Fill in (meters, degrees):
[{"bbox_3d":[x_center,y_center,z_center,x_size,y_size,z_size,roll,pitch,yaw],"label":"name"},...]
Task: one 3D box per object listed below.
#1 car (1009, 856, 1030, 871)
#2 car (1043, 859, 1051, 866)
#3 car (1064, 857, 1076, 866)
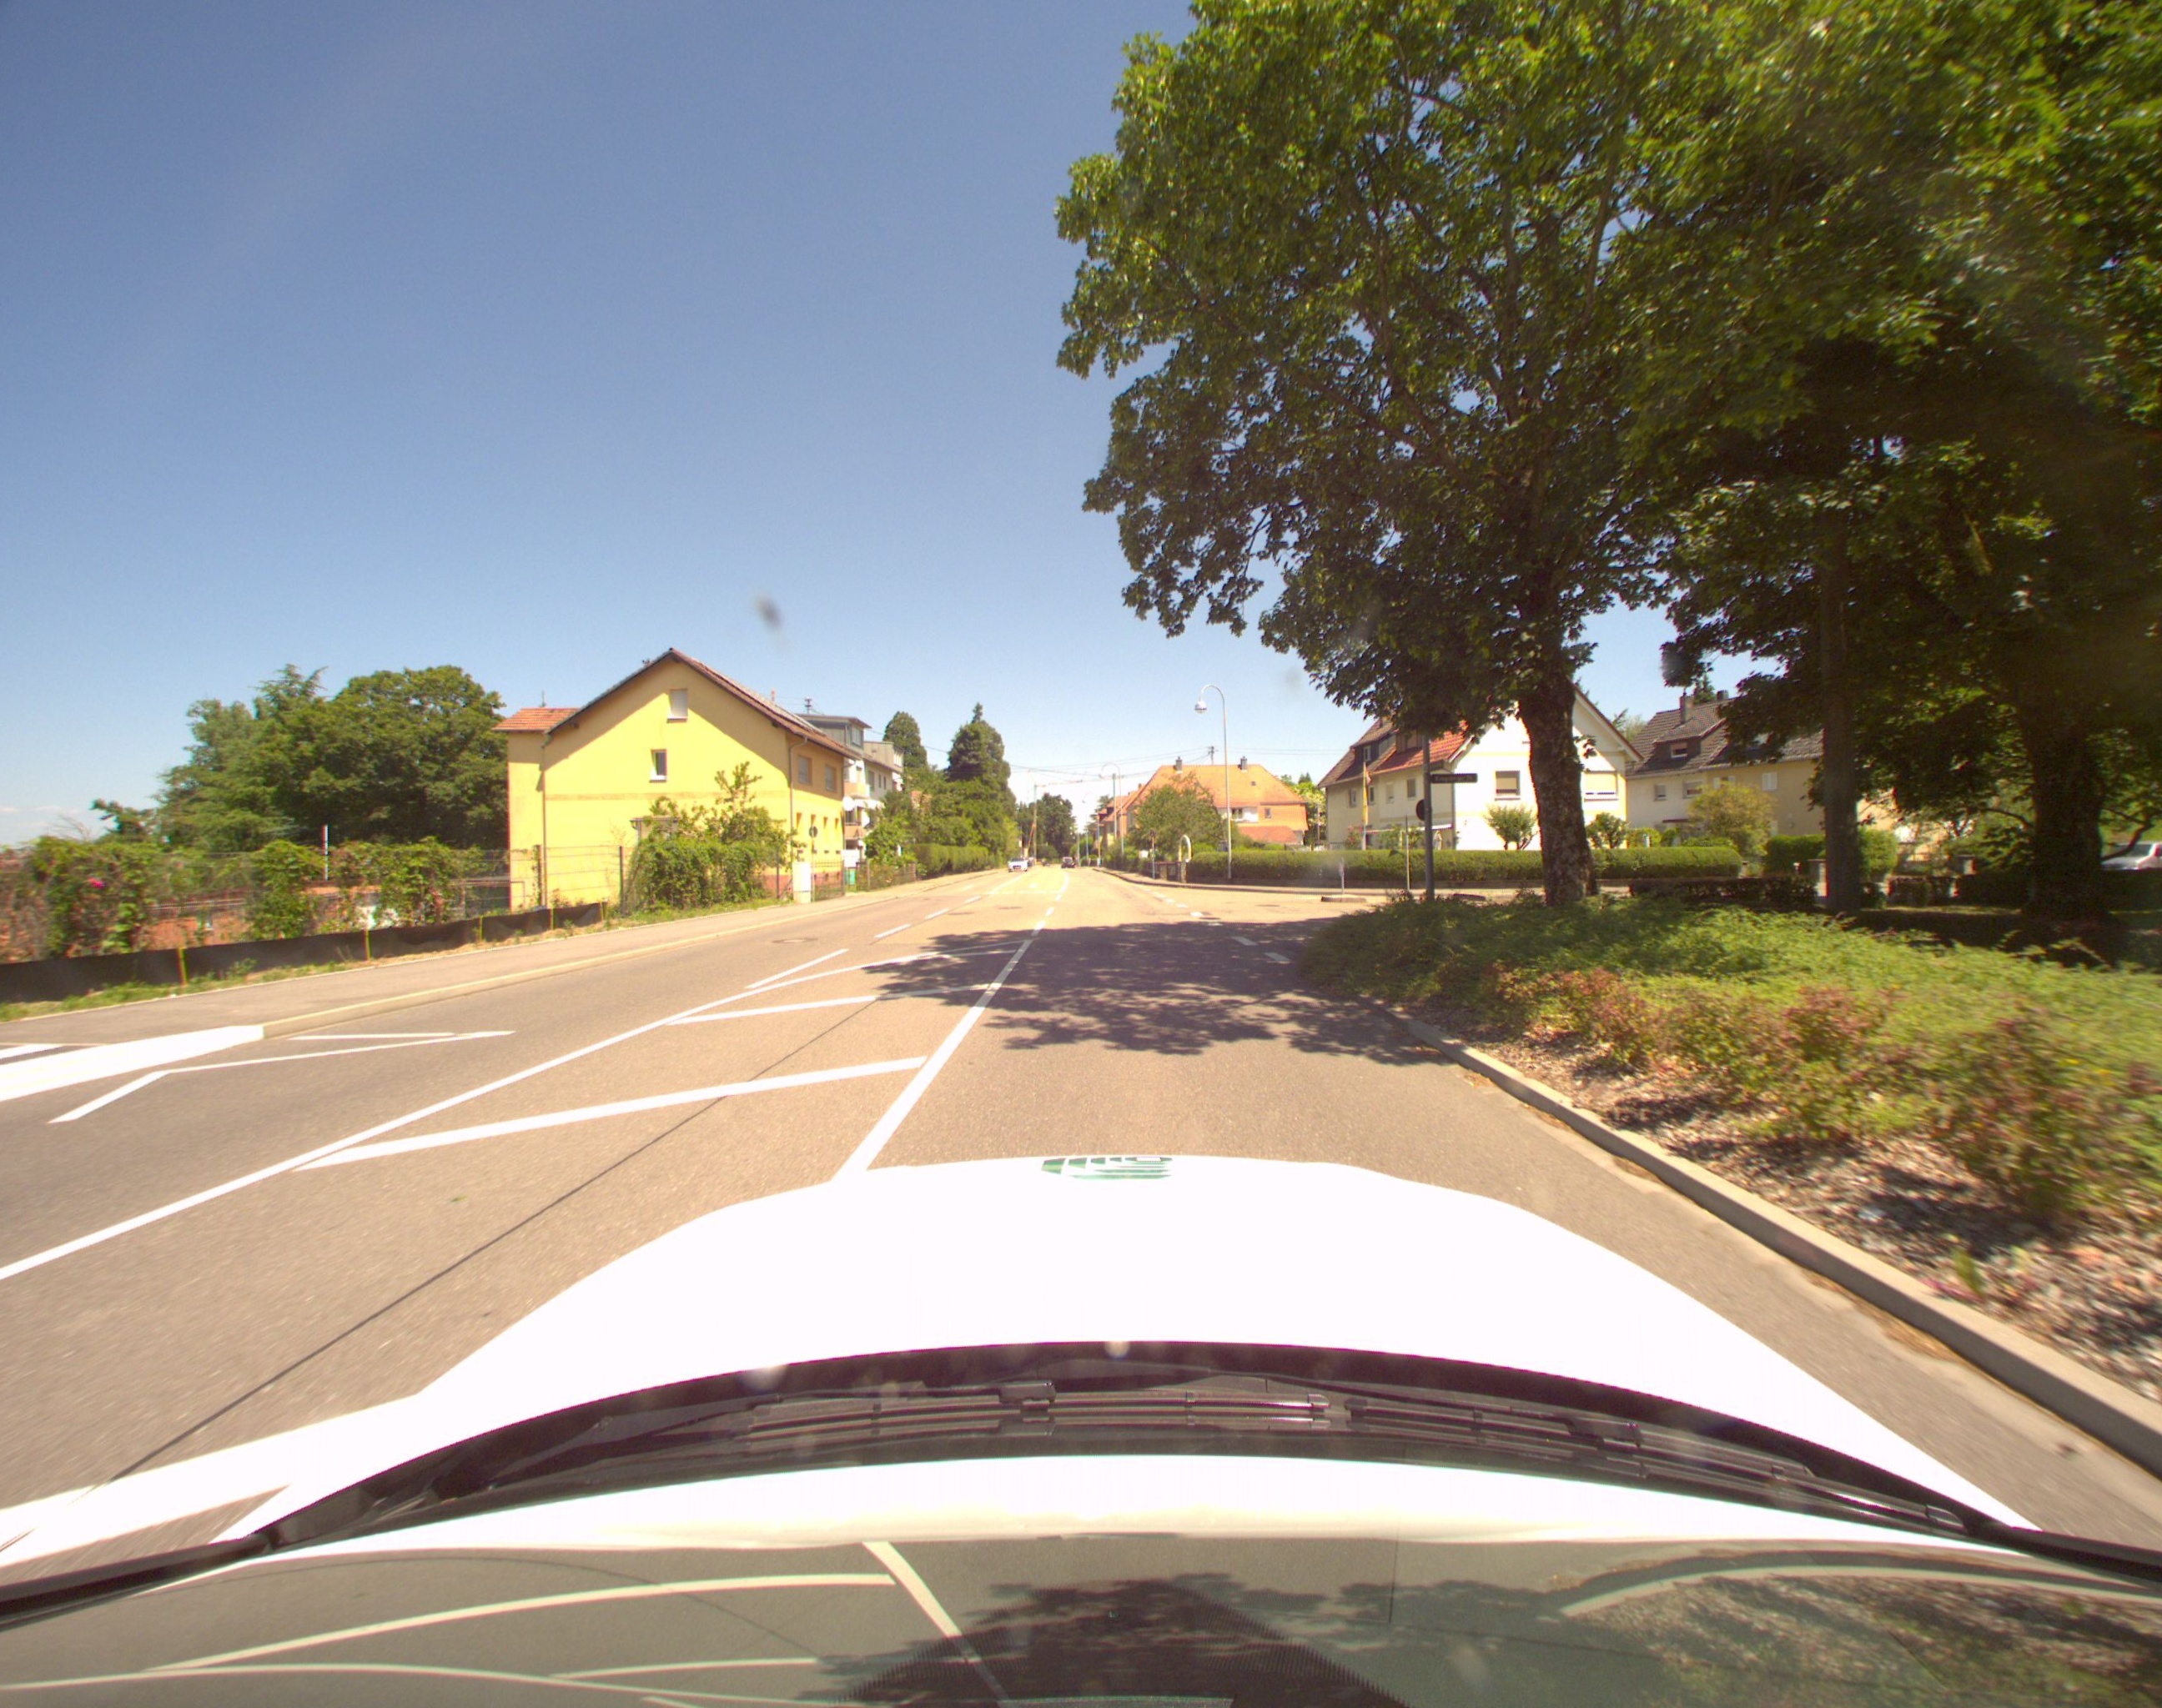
[{"bbox_3d":[-6.033,0.942,80.093,1.675,1.372,4.205,-3,0,-1],"label":"car"},{"bbox_3d":[-9.401,2.319,224.671,1.989,1.850,4.706,-1,2,-3],"label":"car"},{"bbox_3d":[-1.724,1.213,130.245,1.689,1.419,4.545,-1,-1,-3],"label":"car"}]
